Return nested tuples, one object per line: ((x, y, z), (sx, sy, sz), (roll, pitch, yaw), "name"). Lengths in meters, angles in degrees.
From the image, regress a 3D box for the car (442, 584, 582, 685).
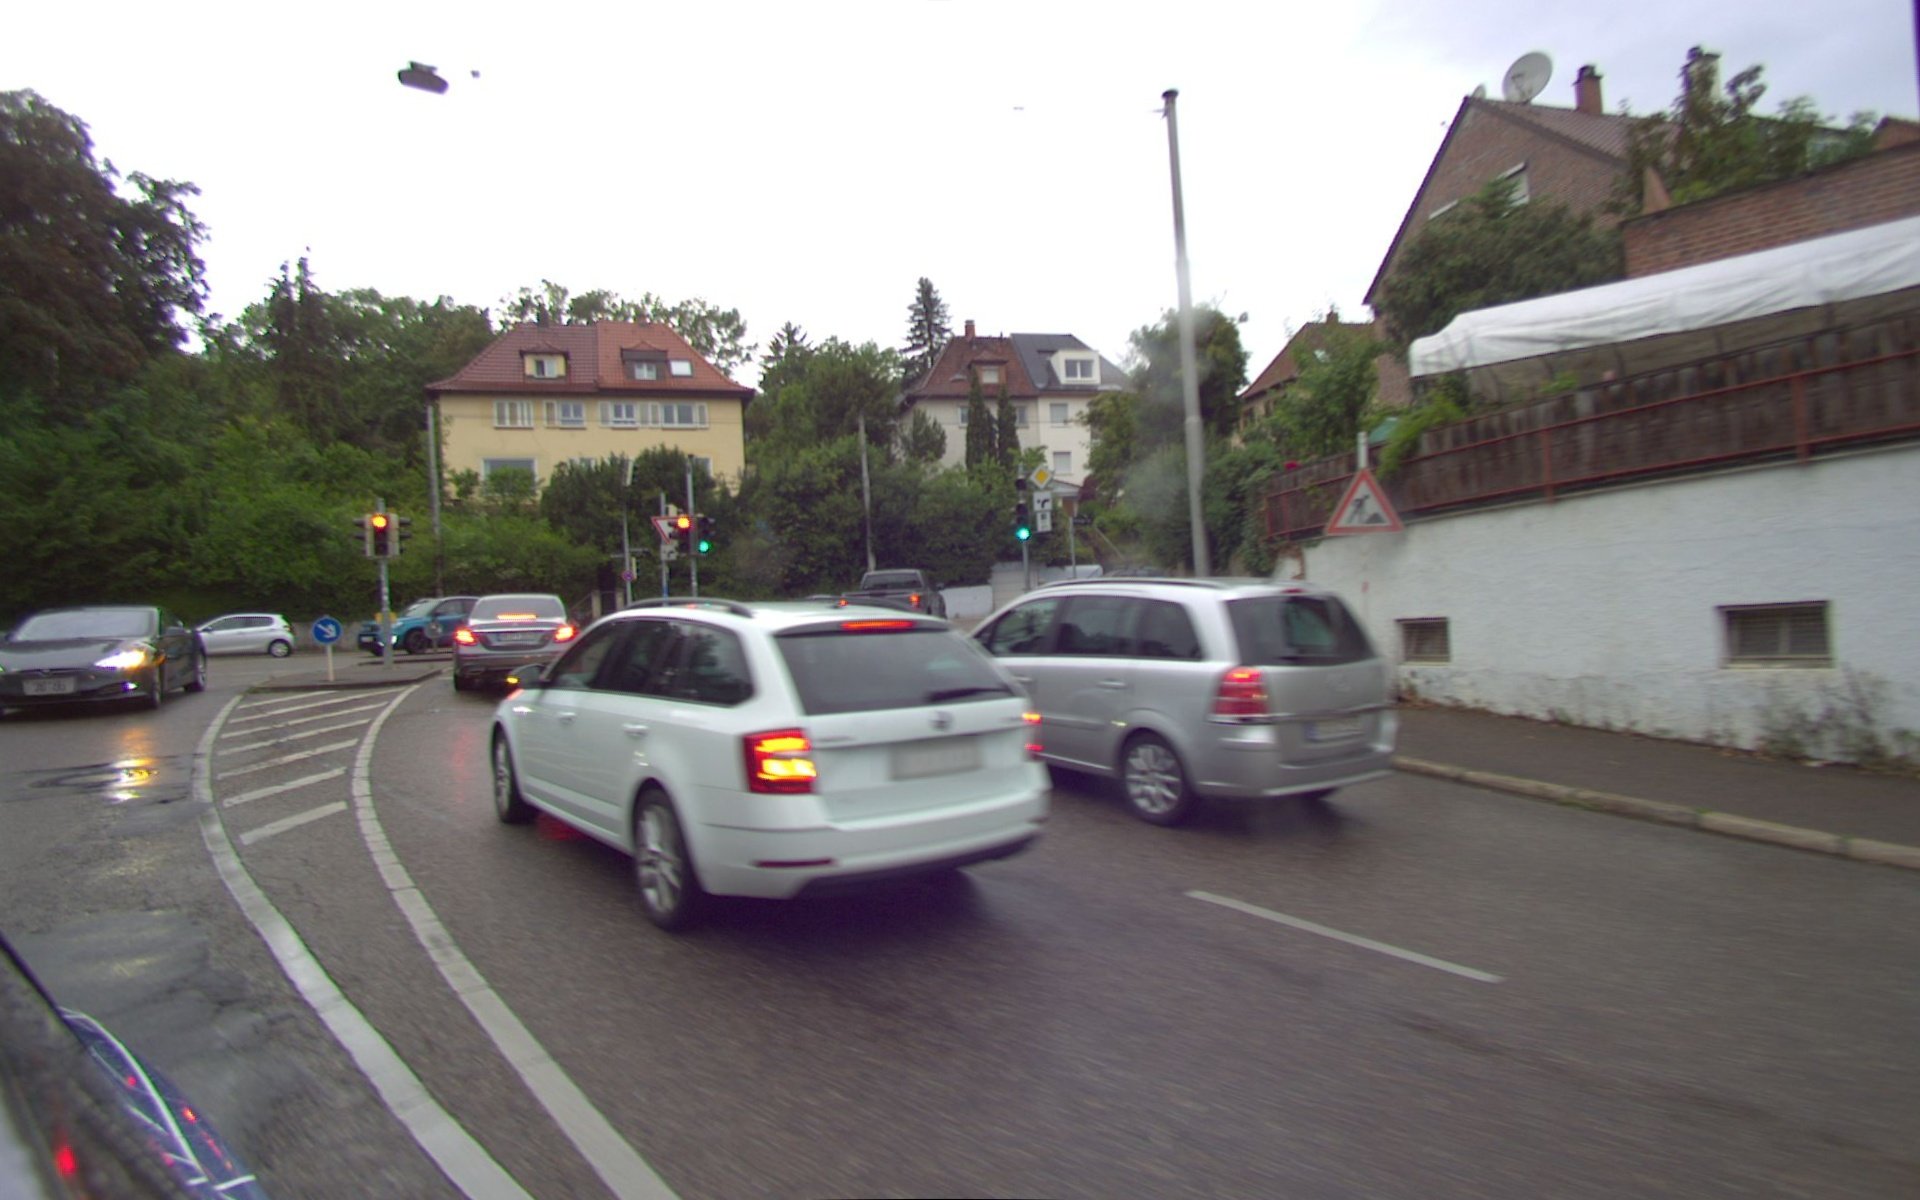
((-7.267, 0.449, 16.691), (1.832, 1.406, 4.612), (0, 1, -22), "car")

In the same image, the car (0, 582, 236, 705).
((-12.015, 0.490, 14.414), (1.805, 1.402, 4.339), (-2, 2, -23), "car")

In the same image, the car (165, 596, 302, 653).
((-23.107, 0.775, 32.344), (3.308, 1.462, 1.557), (-5, -2, -29), "car")

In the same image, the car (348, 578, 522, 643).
((-14.806, 0.282, 28.744), (1.796, 1.622, 3.997), (-5, -2, 32), "car")

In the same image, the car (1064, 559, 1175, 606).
((6.421, -0.693, 40.908), (3.973, 1.662, 1.765), (-3, 0, -17), "car")

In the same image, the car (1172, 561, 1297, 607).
((9.855, -0.583, 36.278), (4.187, 1.477, 1.718), (-2, 1, -27), "car")

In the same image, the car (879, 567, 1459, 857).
((1.256, 0.581, 7.891), (1.688, 1.597, 4.471), (-1, 1, -36), "car")

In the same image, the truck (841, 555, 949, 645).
((-1.381, -0.045, 23.692), (1.864, 1.862, 5.274), (1, 1, 4), "truck")

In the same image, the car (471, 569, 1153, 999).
((-1.227, 0.665, 5.809), (1.824, 1.485, 4.449), (2, -1, -39), "car")

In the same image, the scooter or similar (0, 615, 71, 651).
((-30.383, 1.072, 33.205), (1.738, 1.083, 0.606), (-1, -4, -25), "scooter or similar")

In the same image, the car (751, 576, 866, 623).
((-5.532, -0.016, 36.776), (3.975, 1.471, 1.763), (-3, 0, -11), "car")
